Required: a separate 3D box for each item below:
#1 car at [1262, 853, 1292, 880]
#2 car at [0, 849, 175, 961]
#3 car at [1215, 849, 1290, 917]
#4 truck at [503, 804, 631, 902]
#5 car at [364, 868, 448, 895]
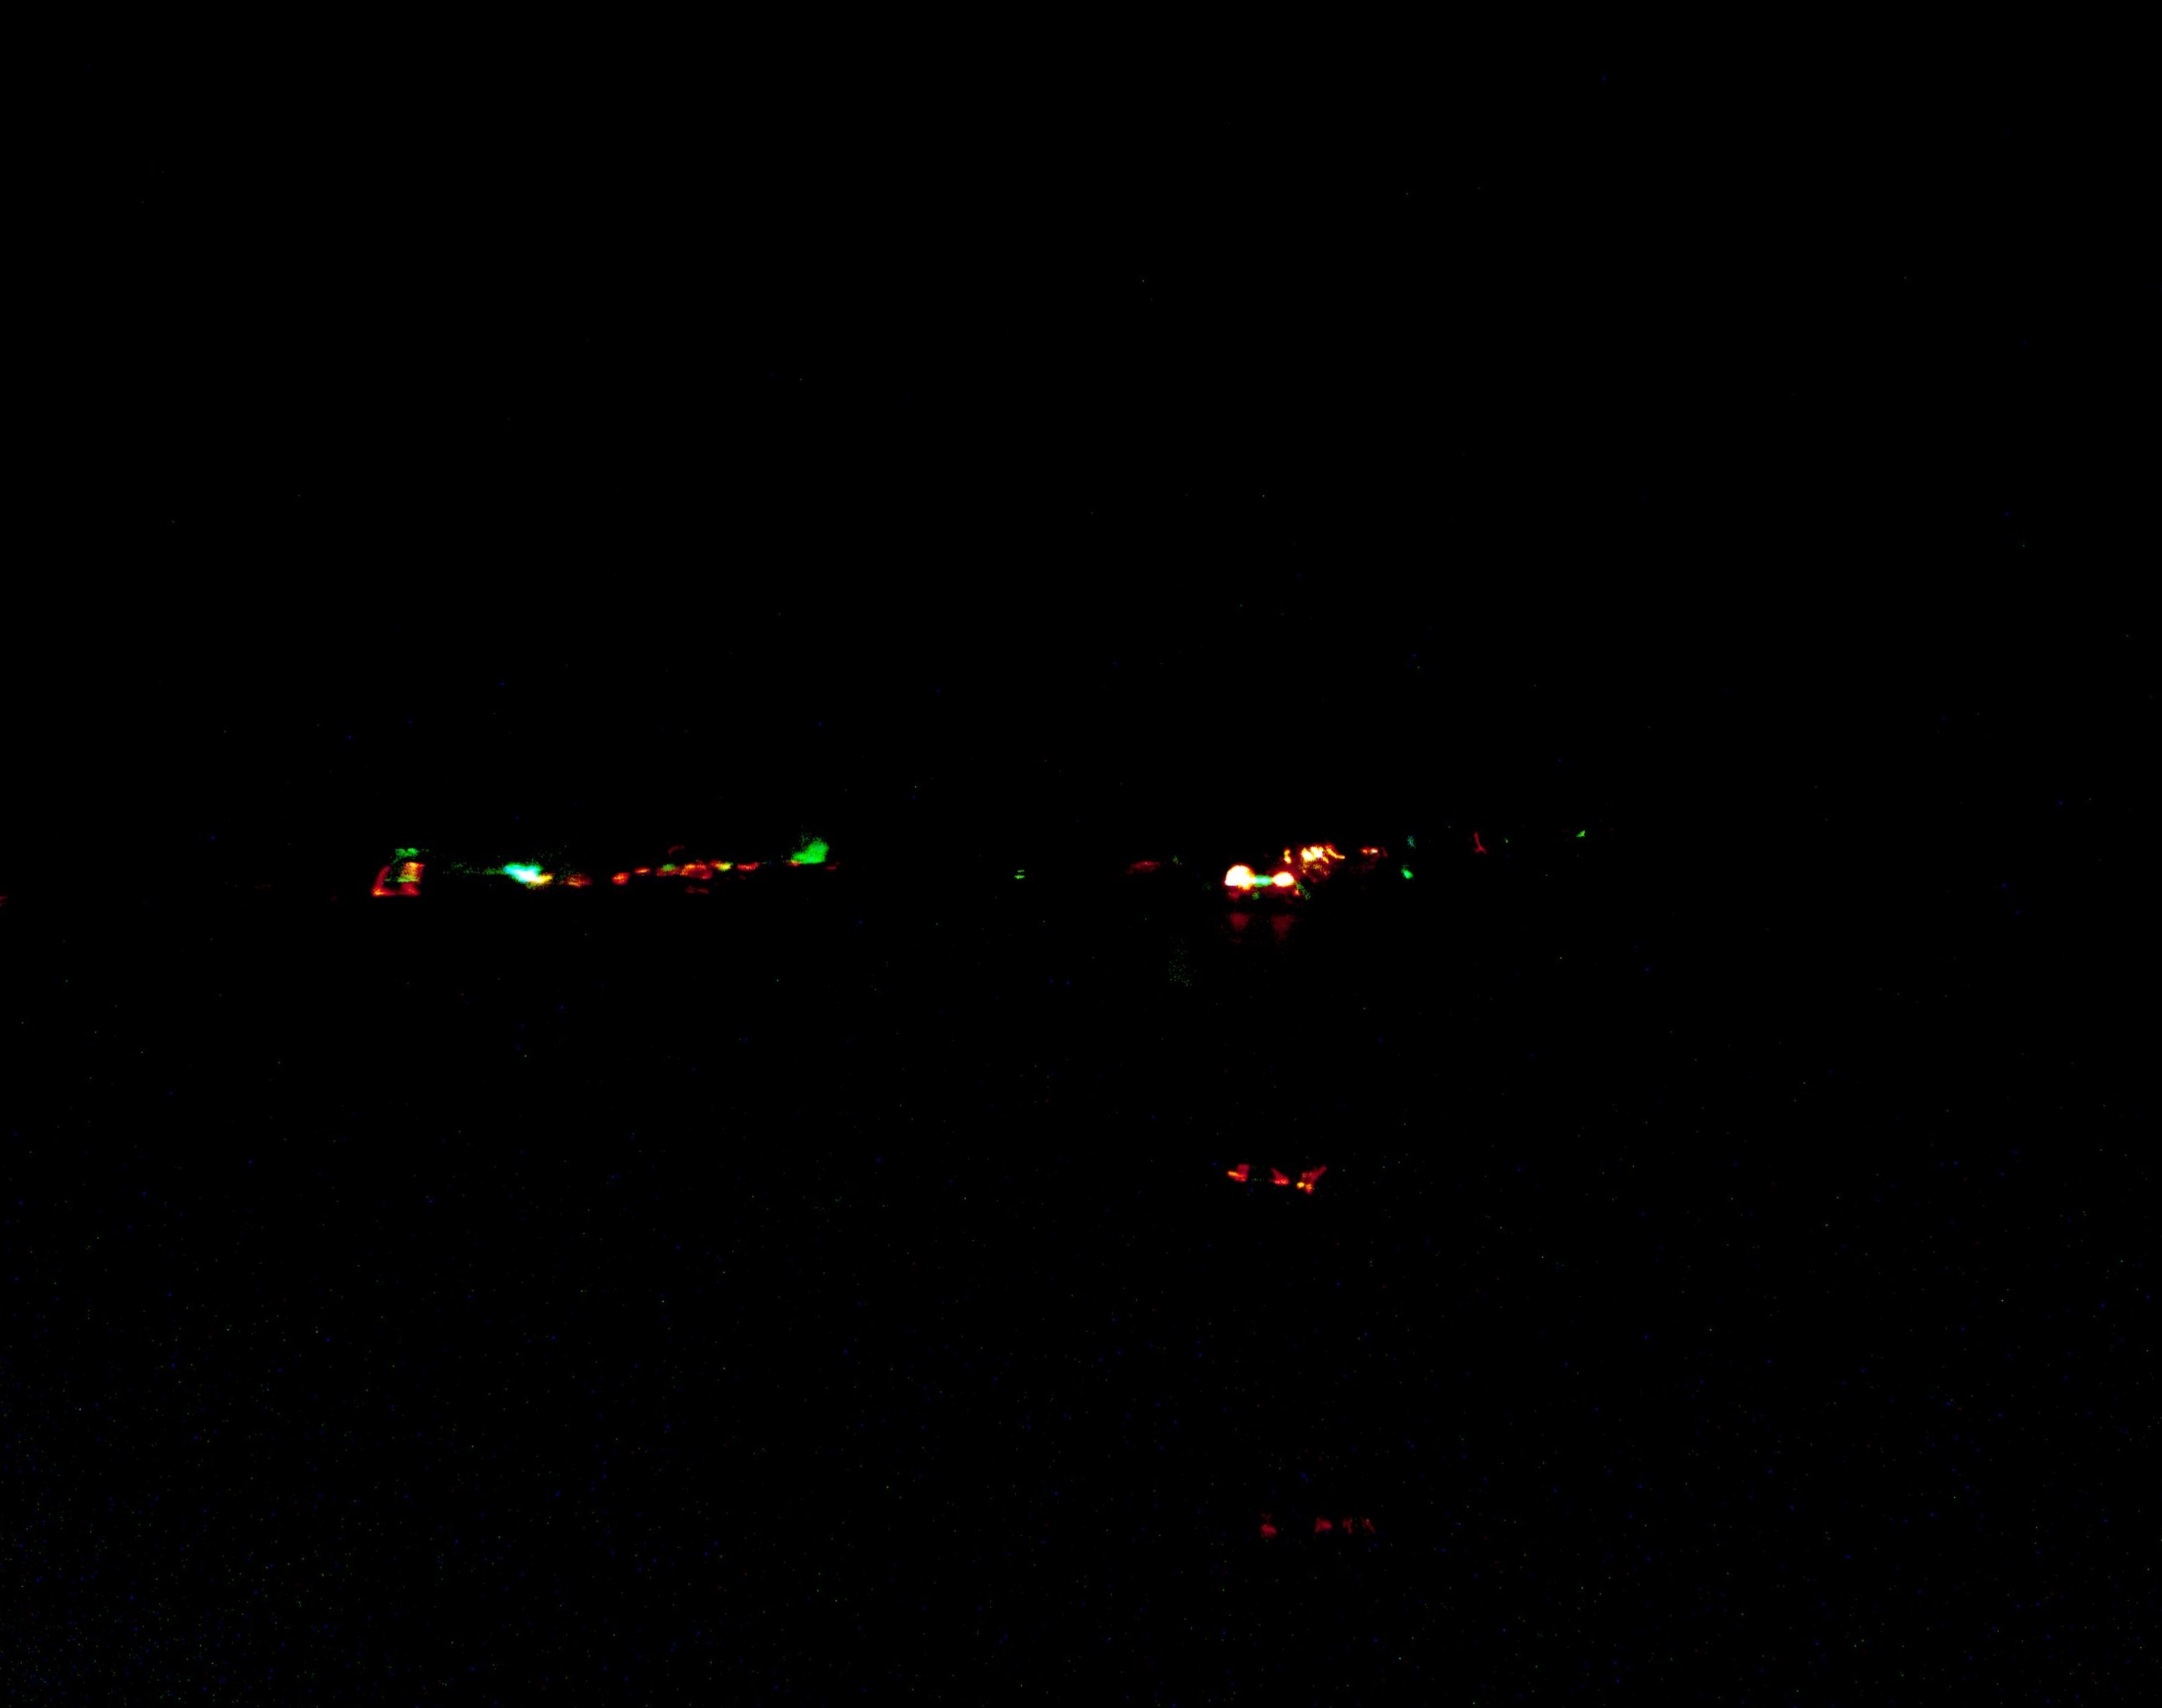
[{"bbox_3d":[13.577,0.844,56.577,1.980,1.808,4.013,0,-1,12],"label":"car"},{"bbox_3d":[-20.981,0.936,16.074,2.133,2.014,4.614,0,-1,-20],"label":"car"},{"bbox_3d":[5.025,0.811,23.801,1.980,1.808,4.013,0,-1,12],"label":"car"},{"bbox_3d":[-32.784,0.048,52.692,4.222,5.649,11.396,0,-1,-18],"label":"truck"},{"bbox_3d":[-39.552,1.584,47.895,1.999,1.476,5.133,0,-1,-18],"label":"car"}]
